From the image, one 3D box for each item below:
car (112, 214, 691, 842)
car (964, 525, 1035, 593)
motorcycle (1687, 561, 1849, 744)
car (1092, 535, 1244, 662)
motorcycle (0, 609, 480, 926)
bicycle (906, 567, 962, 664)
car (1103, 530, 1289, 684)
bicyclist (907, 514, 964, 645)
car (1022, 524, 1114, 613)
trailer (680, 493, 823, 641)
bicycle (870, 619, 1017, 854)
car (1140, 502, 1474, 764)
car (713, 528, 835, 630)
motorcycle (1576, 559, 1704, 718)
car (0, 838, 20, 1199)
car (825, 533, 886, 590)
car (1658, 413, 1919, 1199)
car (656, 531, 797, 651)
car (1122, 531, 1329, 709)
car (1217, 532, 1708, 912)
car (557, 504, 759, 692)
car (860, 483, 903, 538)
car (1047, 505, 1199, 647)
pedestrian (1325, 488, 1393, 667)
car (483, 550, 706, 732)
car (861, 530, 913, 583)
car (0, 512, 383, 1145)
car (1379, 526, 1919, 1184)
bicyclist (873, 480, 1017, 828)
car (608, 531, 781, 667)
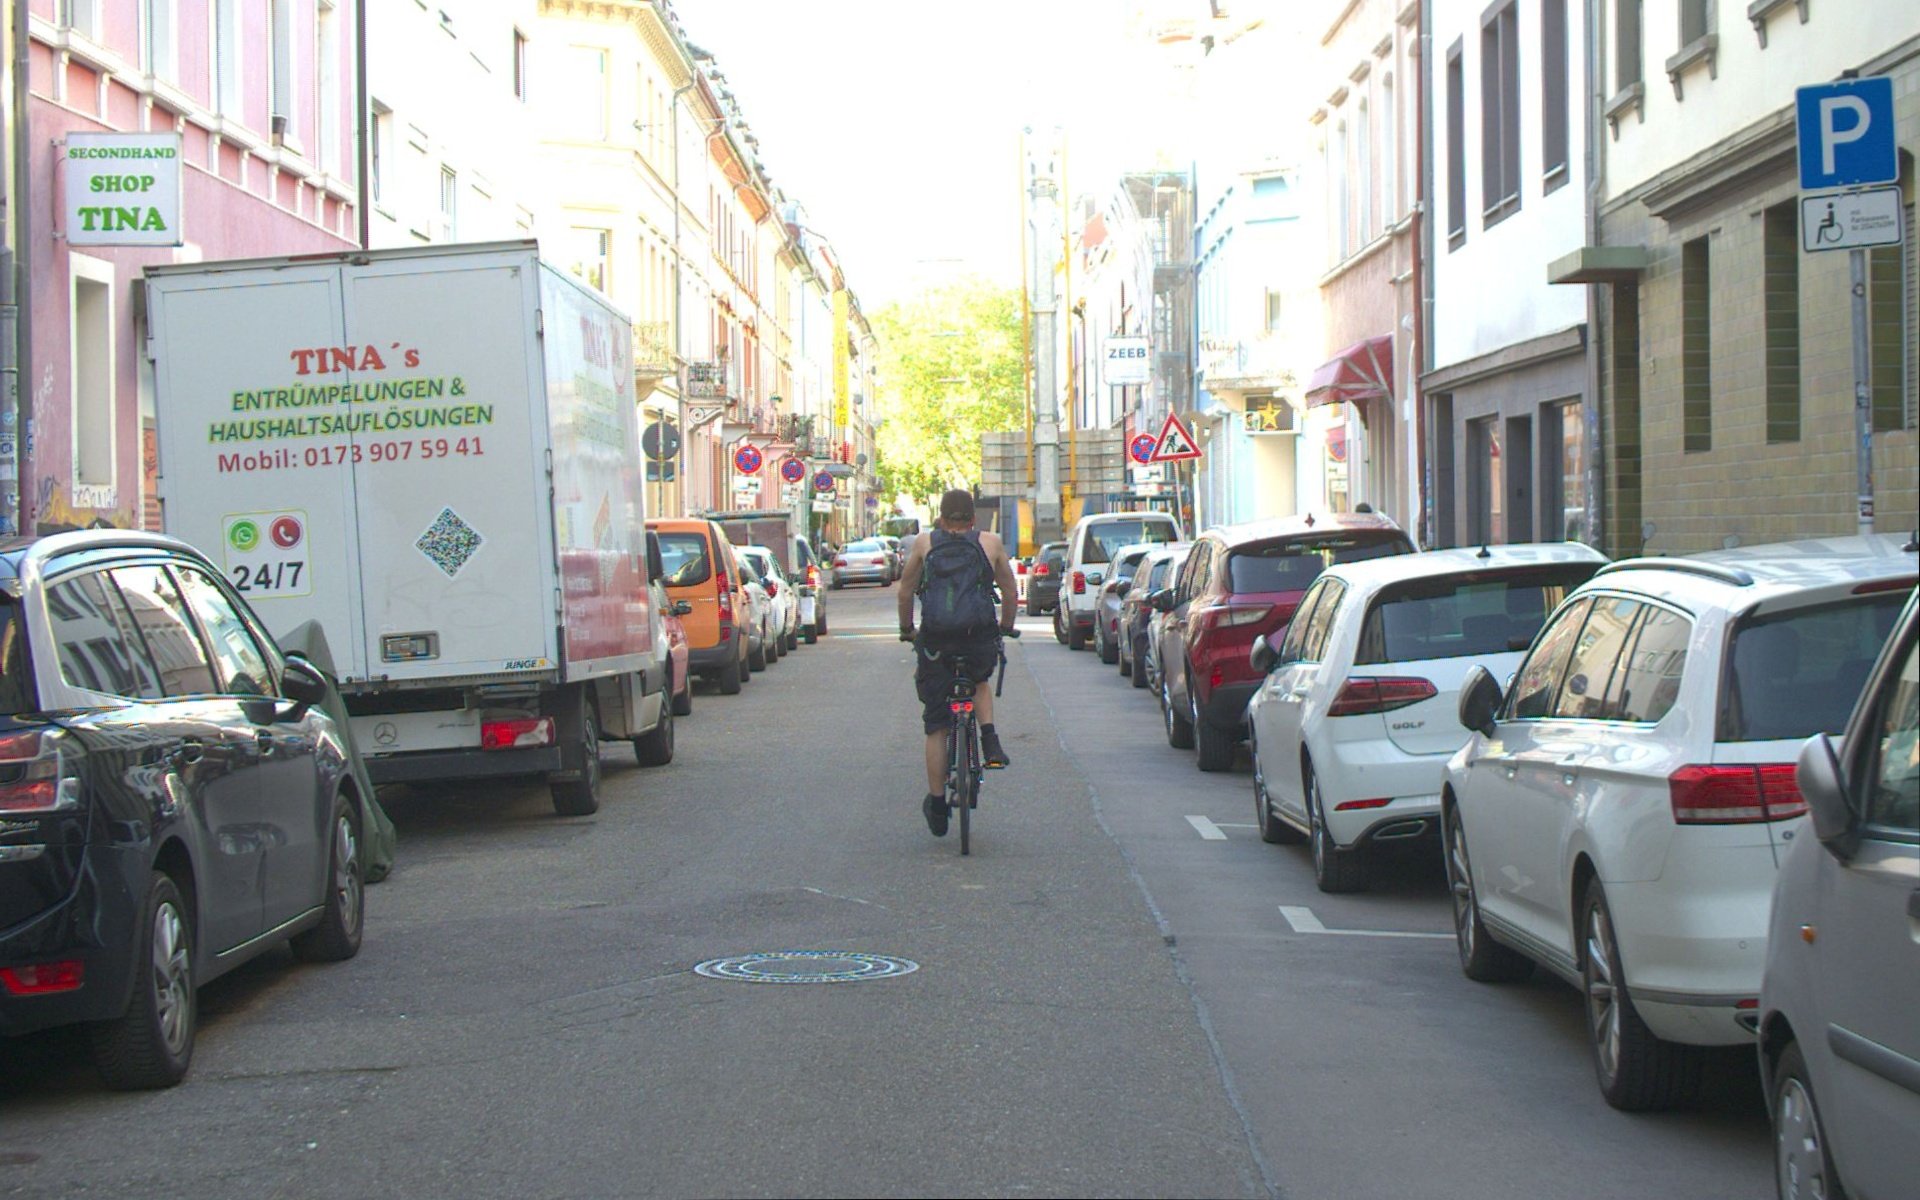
[{"bbox_3d":[-3.271,-0.422,21.977,2.343,3.280,7.154,-2,1,1],"label":"car"},{"bbox_3d":[0.932,-0.983,81.742,1.611,1.555,3.610,1,1,0],"label":"car"},{"bbox_3d":[5.108,0.313,21.822,0.558,1.091,1.776,-3,1,0],"label":"motorcycle"},{"bbox_3d":[2.563,-0.038,43.057,1.750,1.481,3.799,-1,1,2],"label":"car"},{"bbox_3d":[-3.256,0.712,15.521,0.791,1.248,2.102,-1,1,42],"label":"motorcycle"},{"bbox_3d":[-0.311,0.172,41.726,0.648,1.125,2.136,1,1,0],"label":"bicycle"},{"bbox_3d":[2.503,0.052,37.267,1.646,1.470,3.971,-4,1,0],"label":"car"},{"bbox_3d":[-0.300,-0.251,41.783,0.671,1.562,0.716,1,0,-1],"label":"bicyclist"},{"bbox_3d":[2.046,-0.613,65.798,1.611,1.628,3.610,1,1,0],"label":"car"},{"bbox_3d":[-3.067,-0.494,51.316,1.882,2.085,3.737,-1,1,0],"label":"trailer"},{"bbox_3d":[-0.085,0.649,17.210,0.677,1.071,1.942,1,1,0],"label":"bicycle"},{"bbox_3d":[2.365,0.171,24.507,1.918,1.700,4.366,0,1,0],"label":"car"},{"bbox_3d":[-2.979,-0.353,55.694,1.750,1.567,3.796,-1,1,0],"label":"car"},{"bbox_3d":[4.923,0.262,24.972,0.501,1.091,1.878,-3,1,0],"label":"motorcycle"},{"bbox_3d":[-3.039,0.763,5.646,1.716,1.473,4.499,-3,2,0],"label":"car"},{"bbox_3d":[-3.172,-1.167,104.903,1.750,1.678,3.796,-1,1,0],"label":"car"},{"bbox_3d":[2.288,0.568,5.530,1.556,1.706,3.559,1,1,0],"label":"car"},{"bbox_3d":[-3.130,-0.132,46.638,1.653,1.532,3.634,-1,1,0],"label":"car"},{"bbox_3d":[2.457,0.158,32.548,1.667,1.500,3.816,-3,1,1],"label":"car"},{"bbox_3d":[2.265,0.491,16.474,1.686,1.538,4.046,-2,1,0],"label":"car"},{"bbox_3d":[-3.127,-0.041,36.245,1.752,1.810,4.078,-2,1,-1],"label":"car"},{"bbox_3d":[-3.454,-3.928,151.409,1.750,2.310,3.796,-1,1,0],"label":"car"},{"bbox_3d":[2.238,-0.337,48.121,1.750,1.872,3.973,-1,1,-2],"label":"car"},{"bbox_3d":[4.550,-0.260,39.252,0.644,2.007,0.764,1,0,0],"label":"pedestrian"},{"bbox_3d":[-3.260,0.333,31.204,1.578,1.478,3.565,-3,1,0],"label":"car"},{"bbox_3d":[-2.568,-1.538,121.808,1.750,1.815,3.796,-1,1,0],"label":"car"},{"bbox_3d":[-3.129,0.588,11.267,1.716,1.644,4.246,-3,2,0],"label":"car"},{"bbox_3d":[2.449,0.564,10.472,1.697,1.538,4.629,-2,1,0],"label":"car"},{"bbox_3d":[-0.076,0.257,17.171,0.667,1.671,1.097,1,0,0],"label":"bicyclist"},{"bbox_3d":[-3.166,-0.035,41.732,1.750,1.532,4.319,-1,1,0],"label":"car"}]
